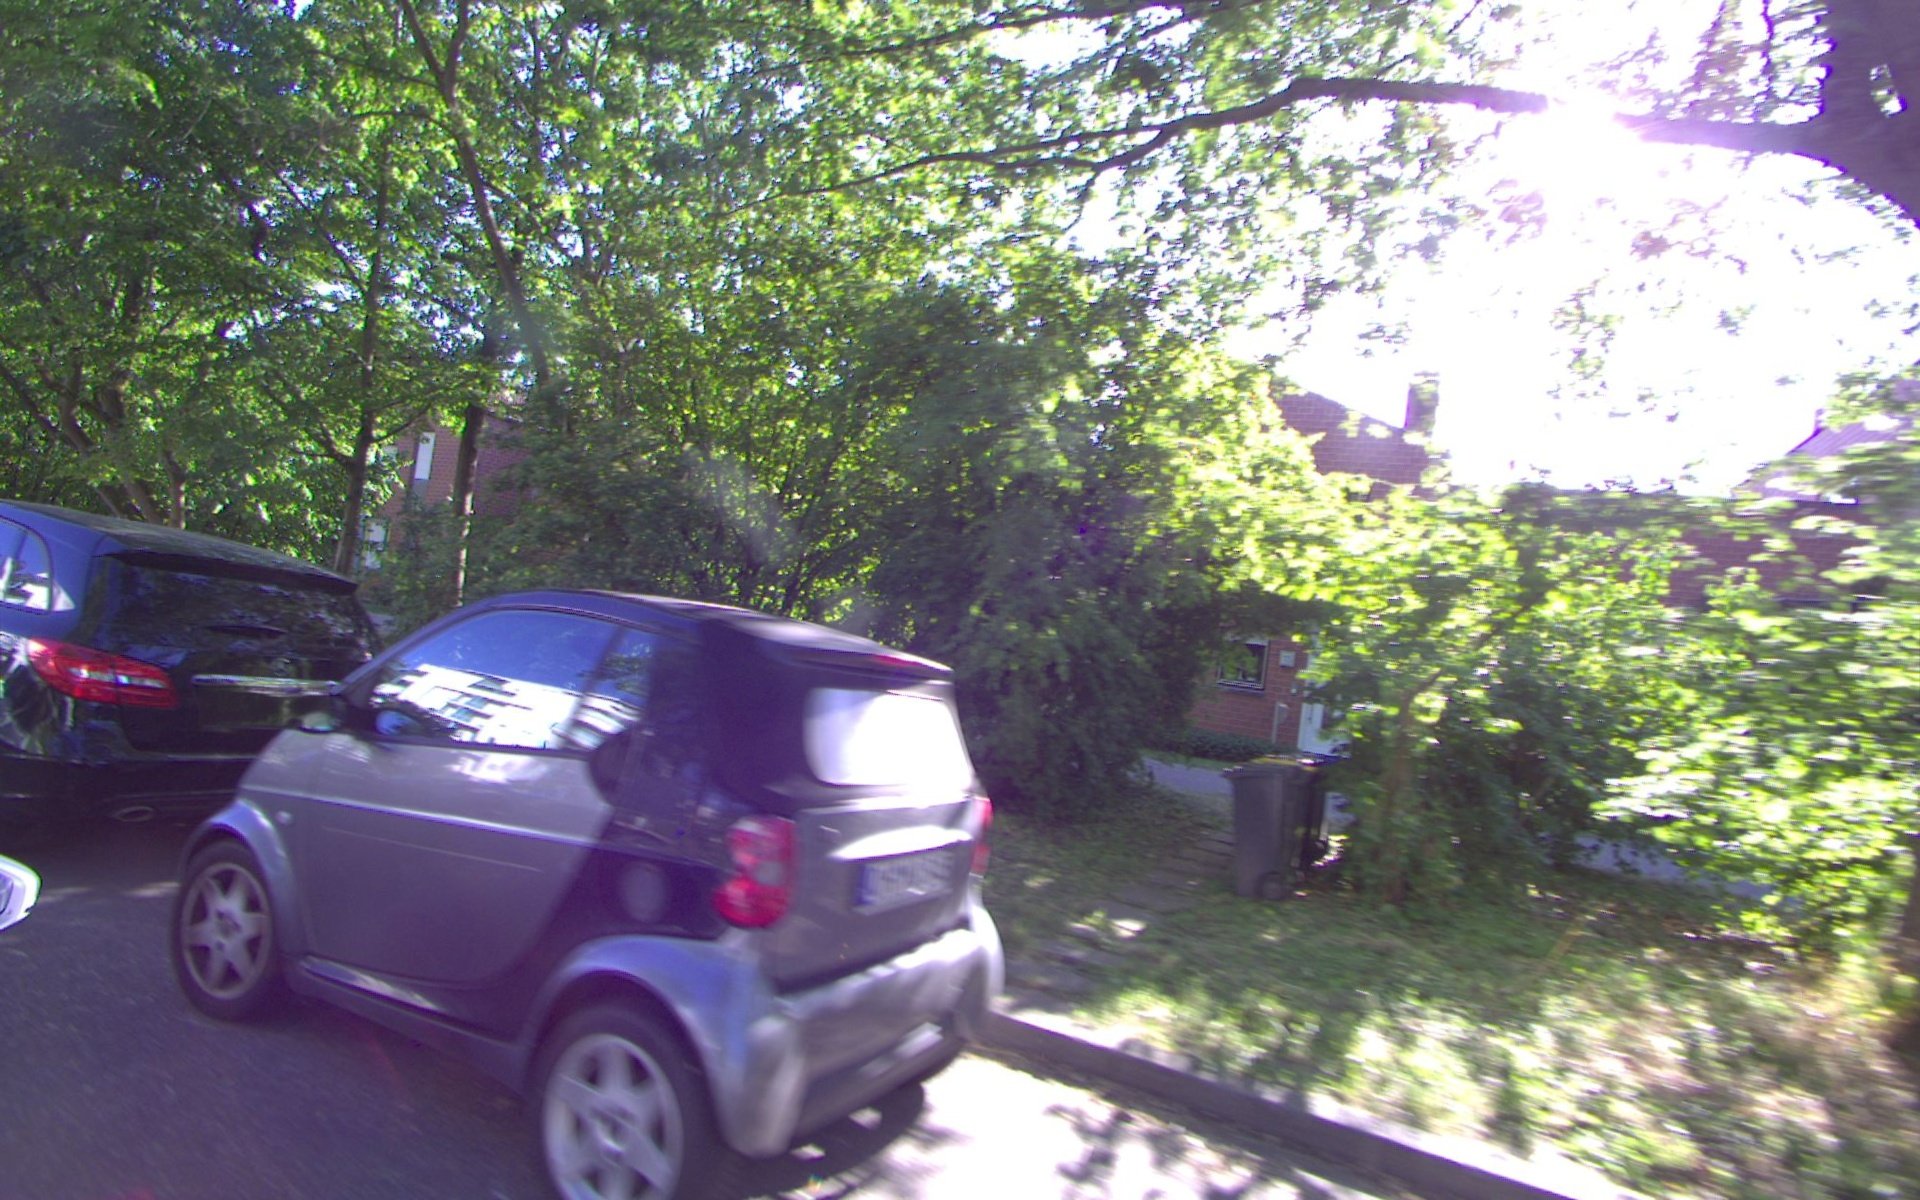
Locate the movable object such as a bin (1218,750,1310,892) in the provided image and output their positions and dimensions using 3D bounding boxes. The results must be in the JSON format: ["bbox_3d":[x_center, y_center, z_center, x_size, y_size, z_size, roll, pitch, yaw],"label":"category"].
[{"bbox_3d":[2.193,1.558,7.230,0.455,0.891,0.727,0,-4,31],"label":"movable object such as a bin"}]

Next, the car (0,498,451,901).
[{"bbox_3d":[-5.084,0.258,5.491,4.074,1.525,1.720,8,-3,23],"label":"car"}]

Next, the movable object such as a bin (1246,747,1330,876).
[{"bbox_3d":[2.572,1.623,7.860,0.455,0.891,0.727,0,-4,31],"label":"movable object such as a bin"}]

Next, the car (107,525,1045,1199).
[{"bbox_3d":[-1.297,0.738,3.490,2.630,1.525,1.499,7,-3,28],"label":"car"}]
